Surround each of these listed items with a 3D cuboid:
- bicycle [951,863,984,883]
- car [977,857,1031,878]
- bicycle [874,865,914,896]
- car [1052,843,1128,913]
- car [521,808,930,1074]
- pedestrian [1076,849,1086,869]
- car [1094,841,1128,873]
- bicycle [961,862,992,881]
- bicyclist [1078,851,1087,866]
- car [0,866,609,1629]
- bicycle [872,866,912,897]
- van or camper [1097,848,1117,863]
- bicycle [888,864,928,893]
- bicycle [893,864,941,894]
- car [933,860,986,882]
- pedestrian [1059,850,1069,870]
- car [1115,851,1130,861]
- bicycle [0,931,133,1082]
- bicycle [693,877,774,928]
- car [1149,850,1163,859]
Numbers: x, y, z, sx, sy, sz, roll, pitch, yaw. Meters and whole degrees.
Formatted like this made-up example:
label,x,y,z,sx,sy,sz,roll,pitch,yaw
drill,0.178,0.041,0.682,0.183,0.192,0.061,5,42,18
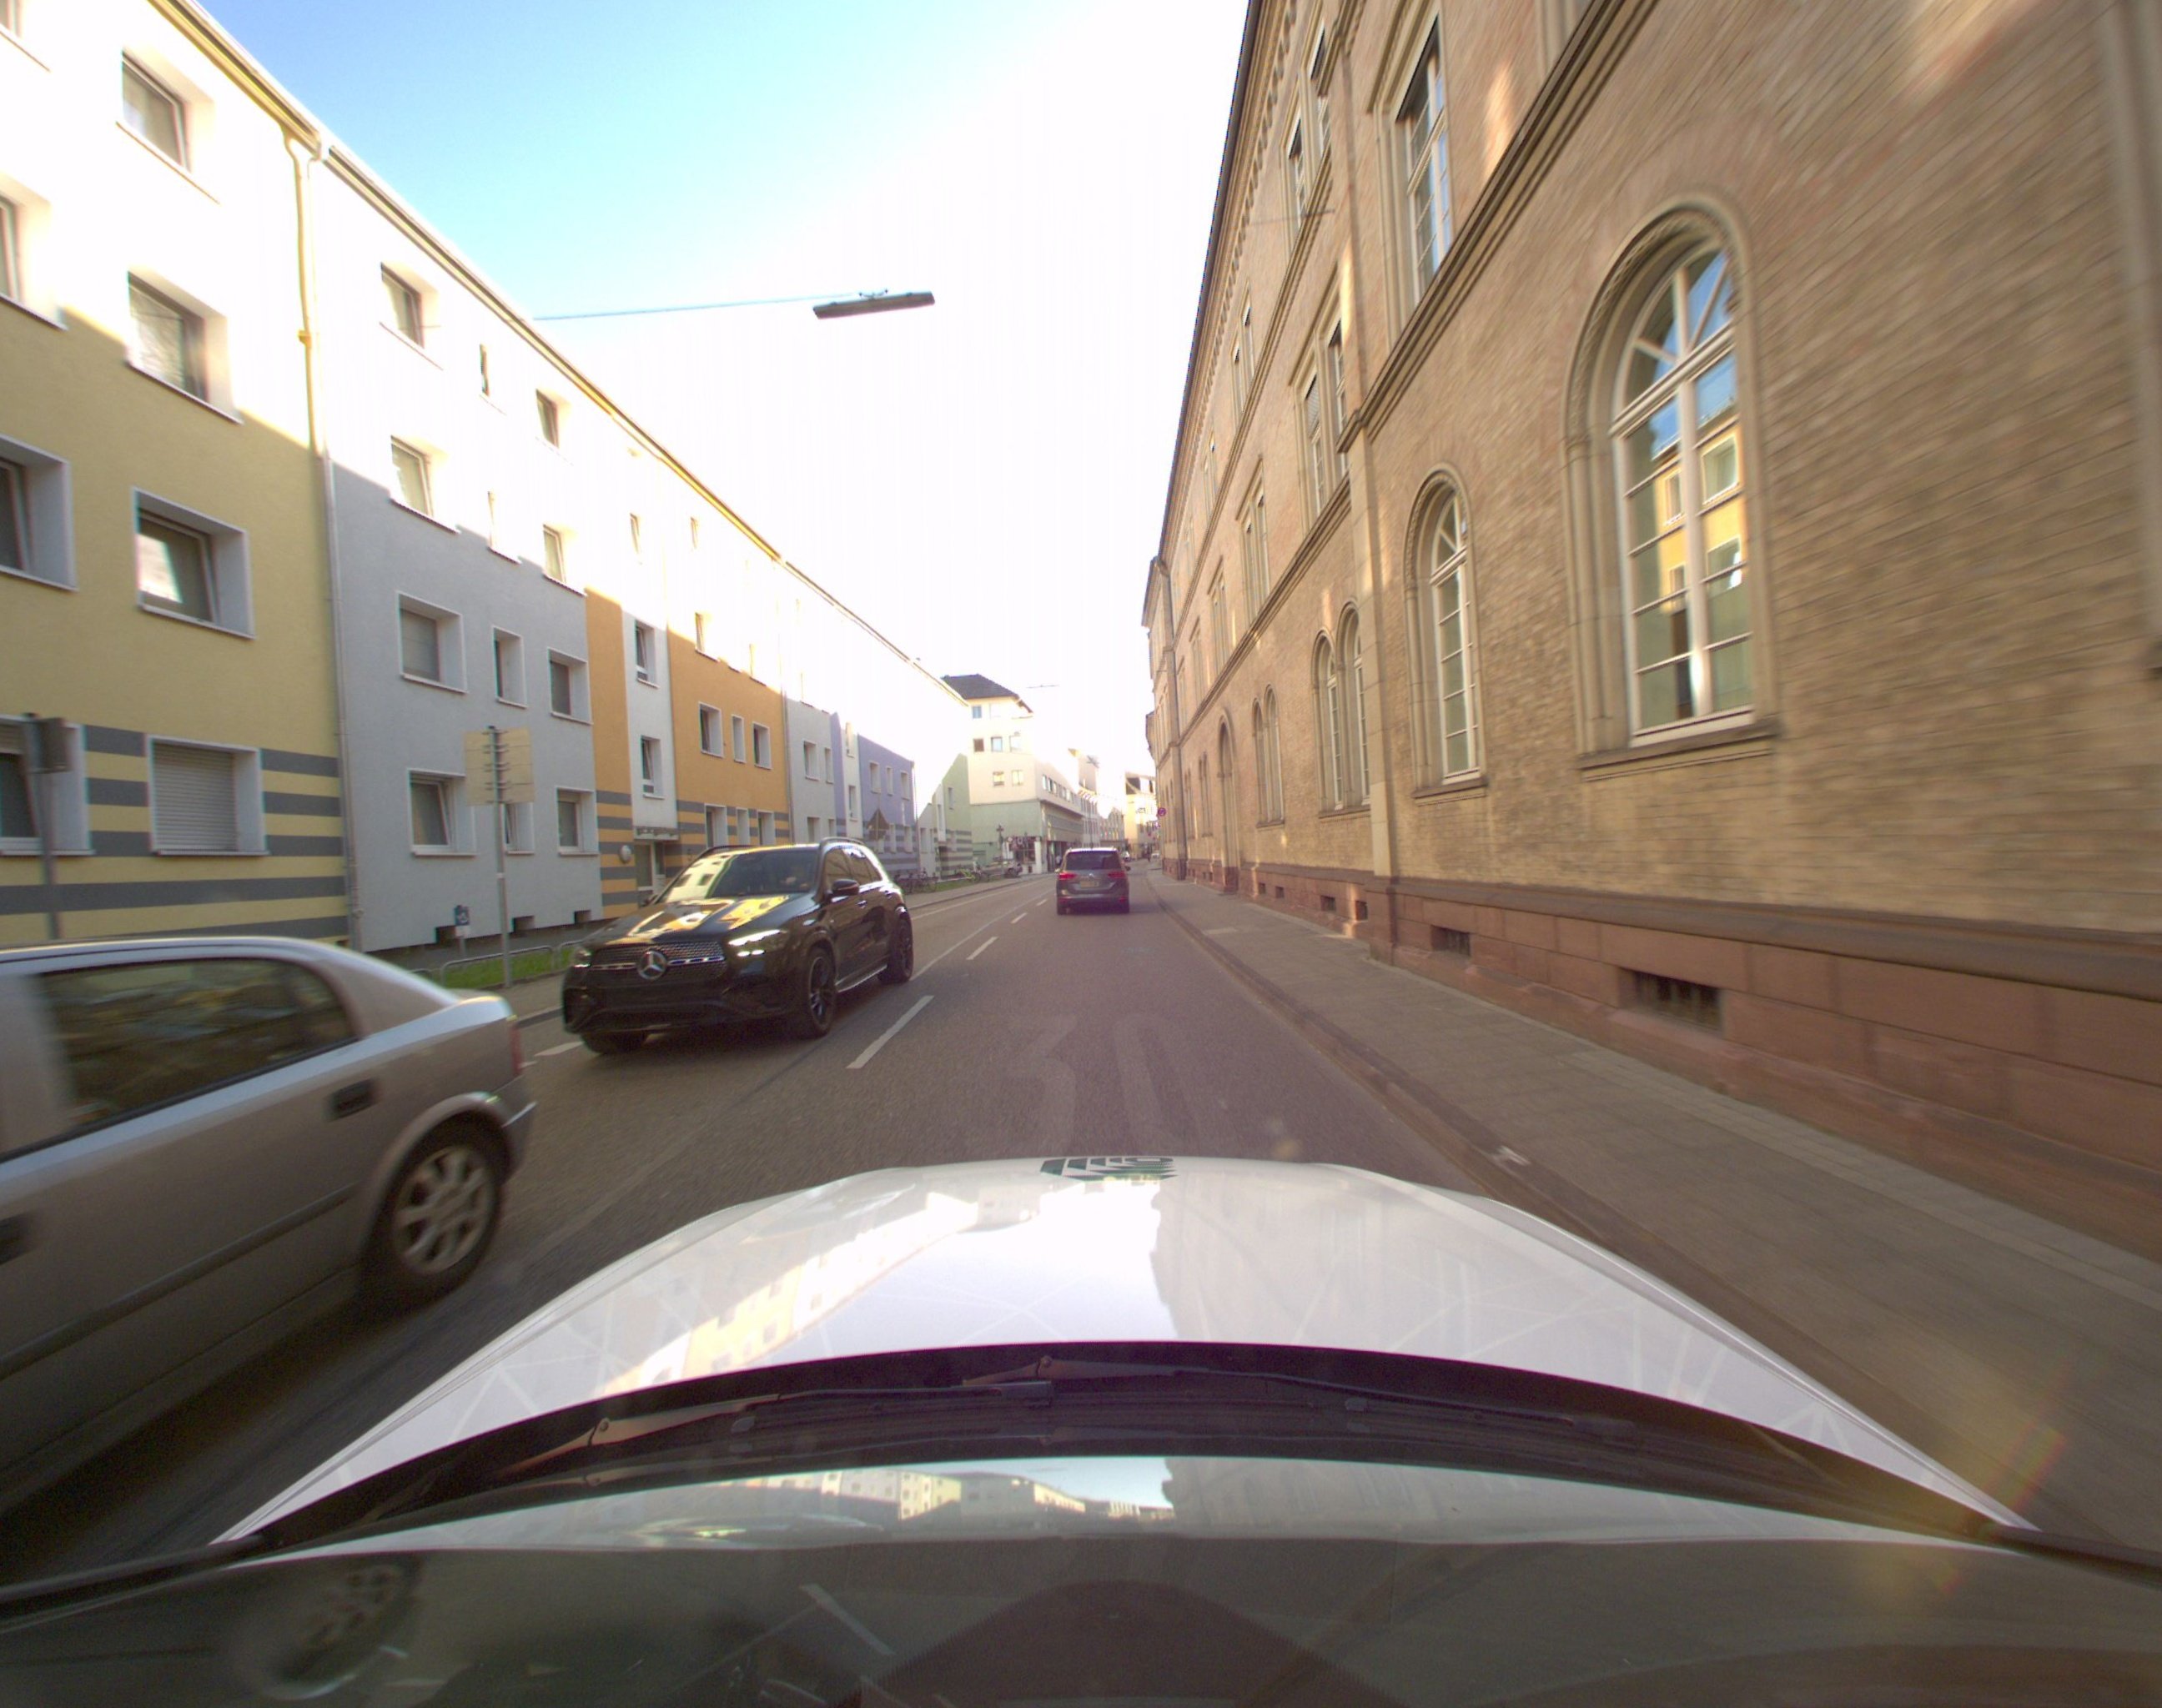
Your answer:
label,x,y,z,sx,sy,sz,roll,pitch,yaw
bicycle,-6.974,1.154,50.015,1.930,1.179,0.611,-1,-1,-12
car,-6.379,1.100,67.481,4.078,1.442,1.951,-4,0,5
bicycle,-8.205,1.170,35.820,1.579,1.241,0.449,-3,0,1
car,0.275,0.548,20.968,1.755,1.607,4.002,-1,0,2
car,-3.138,0.646,8.659,1.893,1.834,5.095,-5,0,1
pedestrian,-0.019,0.485,78.677,0.550,1.829,0.735,-3,0,27
car,1.969,0.171,53.179,1.986,1.881,4.002,-3,0,2
bicycle,-6.605,1.089,51.469,1.926,1.179,0.612,-1,-1,-6
bicyclist,0.126,0.459,87.459,0.827,1.561,0.760,-3,0,3
car,-3.079,0.882,1.639,1.736,1.486,4.135,-5,0,-1
bicycle,-8.218,1.194,35.402,1.574,1.241,0.384,-3,0,1
van or camper,3.572,0.184,110.936,1.981,2.013,4.495,-3,0,10
bicycle,-7.856,1.105,37.060,1.633,1.241,0.467,-3,0,1
bicycle,-7.597,1.156,37.770,2.001,1.231,0.623,-3,0,1
car,-9.202,1.281,61.756,3.483,1.442,1.816,-4,0,5
pedestrian,-1.631,0.558,76.667,0.550,1.829,0.735,-3,0,27
car,6.483,0.300,126.866,1.855,1.468,3.843,-3,0,9
bicycle,-9.343,1.311,6.857,1.750,1.145,0.649,-3,0,-7
bicycle,-8.953,1.240,21.029,1.750,1.145,0.649,-3,0,-7
car,14.480,0.086,156.734,1.720,1.468,4.019,-3,0,18
